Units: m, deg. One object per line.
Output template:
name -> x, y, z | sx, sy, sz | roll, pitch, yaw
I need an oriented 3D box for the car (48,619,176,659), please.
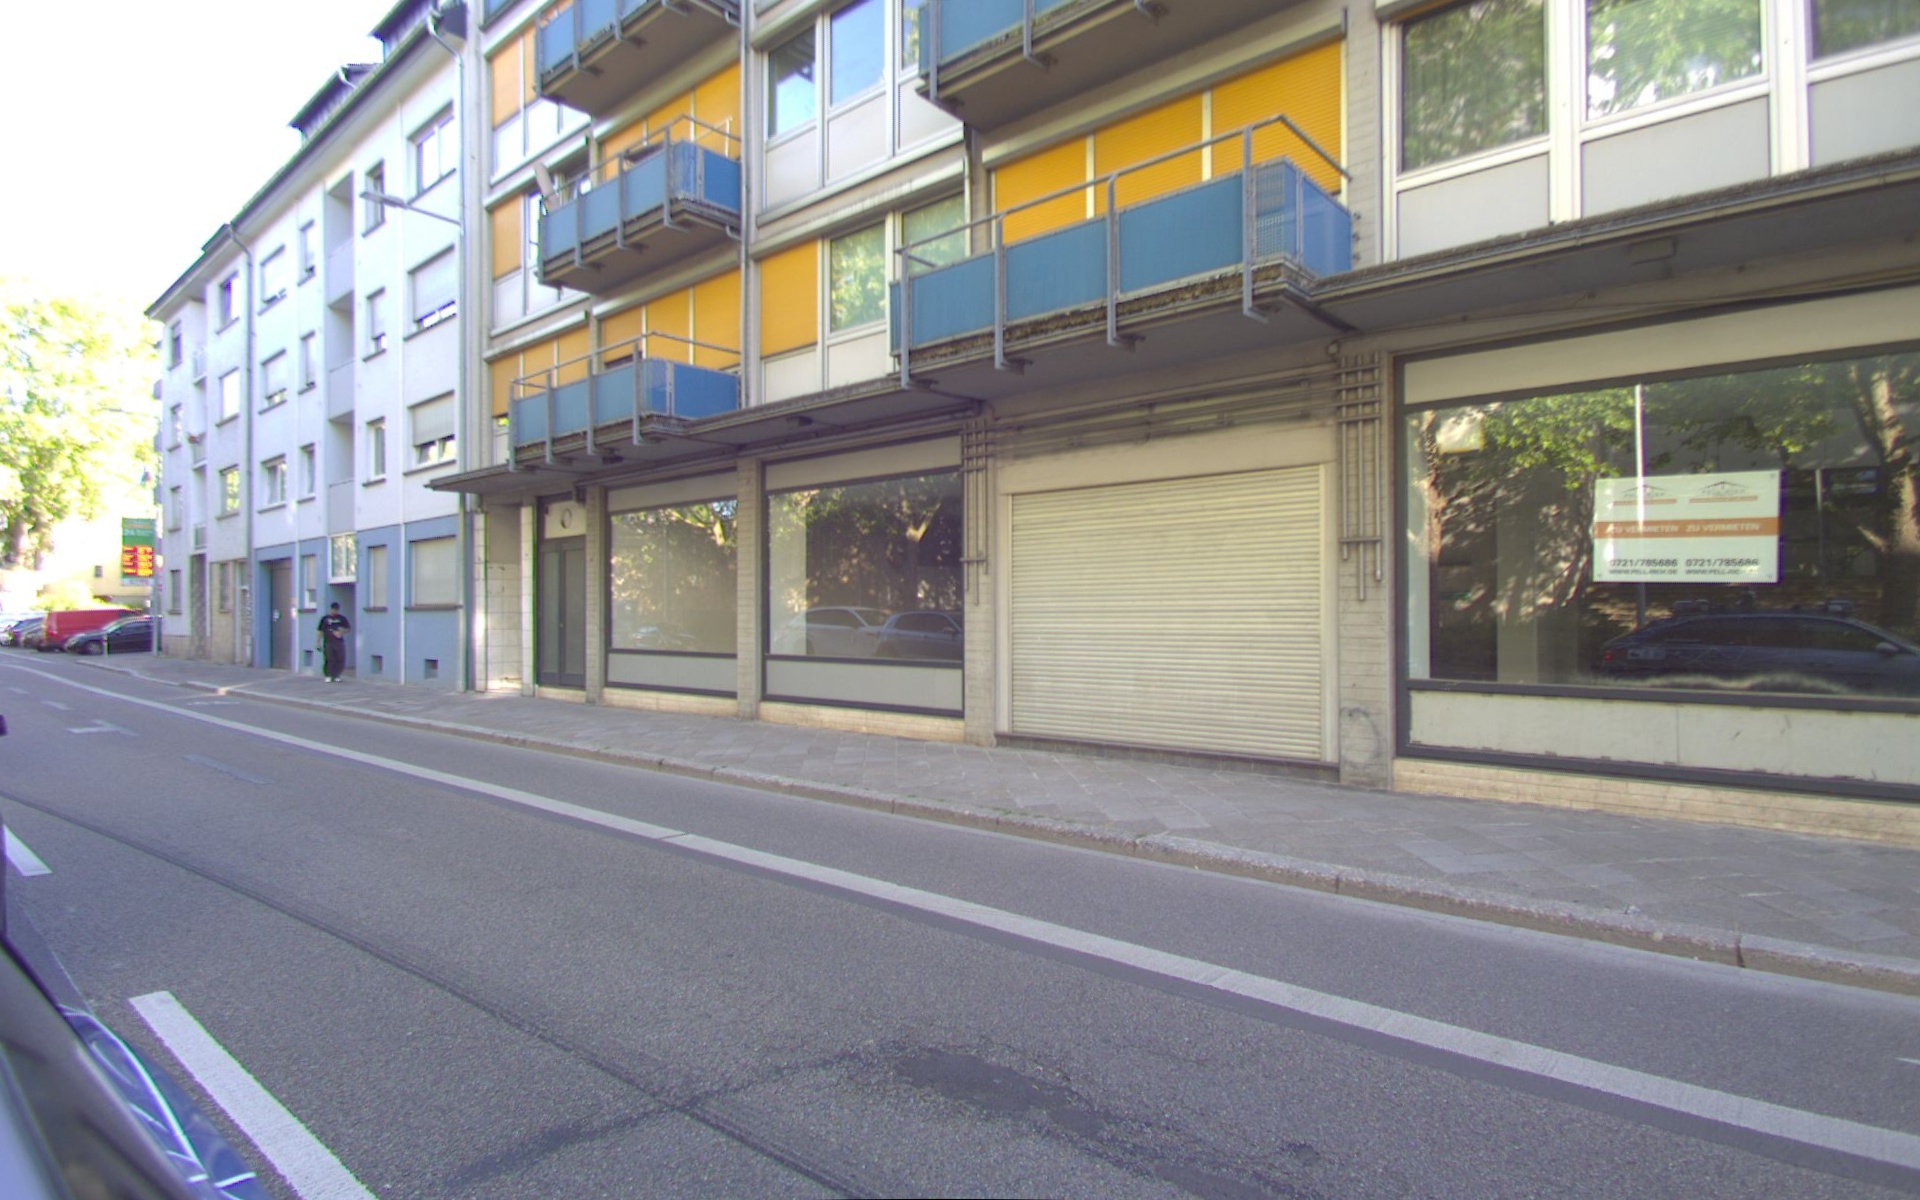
car -> -38.187, 1.731, 45.665 | 1.652, 1.480, 4.201 | -1, 1, 41

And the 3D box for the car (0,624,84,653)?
car -> -55.877, 2.300, 61.207 | 1.652, 1.480, 4.201 | -1, 1, 41

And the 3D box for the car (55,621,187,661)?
car -> -36.494, 1.743, 44.102 | 1.652, 1.411, 4.201 | -1, 1, 41

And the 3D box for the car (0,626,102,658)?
car -> -50.463, 2.293, 56.114 | 1.652, 1.480, 4.201 | -1, 1, 41

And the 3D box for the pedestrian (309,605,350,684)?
pedestrian -> -13.902, 0.971, 22.305 | 0.655, 1.708, 0.604 | -2, -1, 41

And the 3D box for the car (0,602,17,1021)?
car -> -5.645, 0.797, 4.412 | 4.300, 1.510, 1.826 | -1, -1, 41

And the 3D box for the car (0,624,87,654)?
car -> -54.495, 2.279, 59.799 | 1.652, 1.480, 4.201 | -1, 1, 41

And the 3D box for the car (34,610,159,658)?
car -> -40.568, 1.558, 47.627 | 1.817, 1.933, 4.202 | -2, 1, 40

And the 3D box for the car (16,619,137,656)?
car -> -42.756, 1.790, 49.023 | 1.652, 1.480, 4.201 | -1, 1, 41
